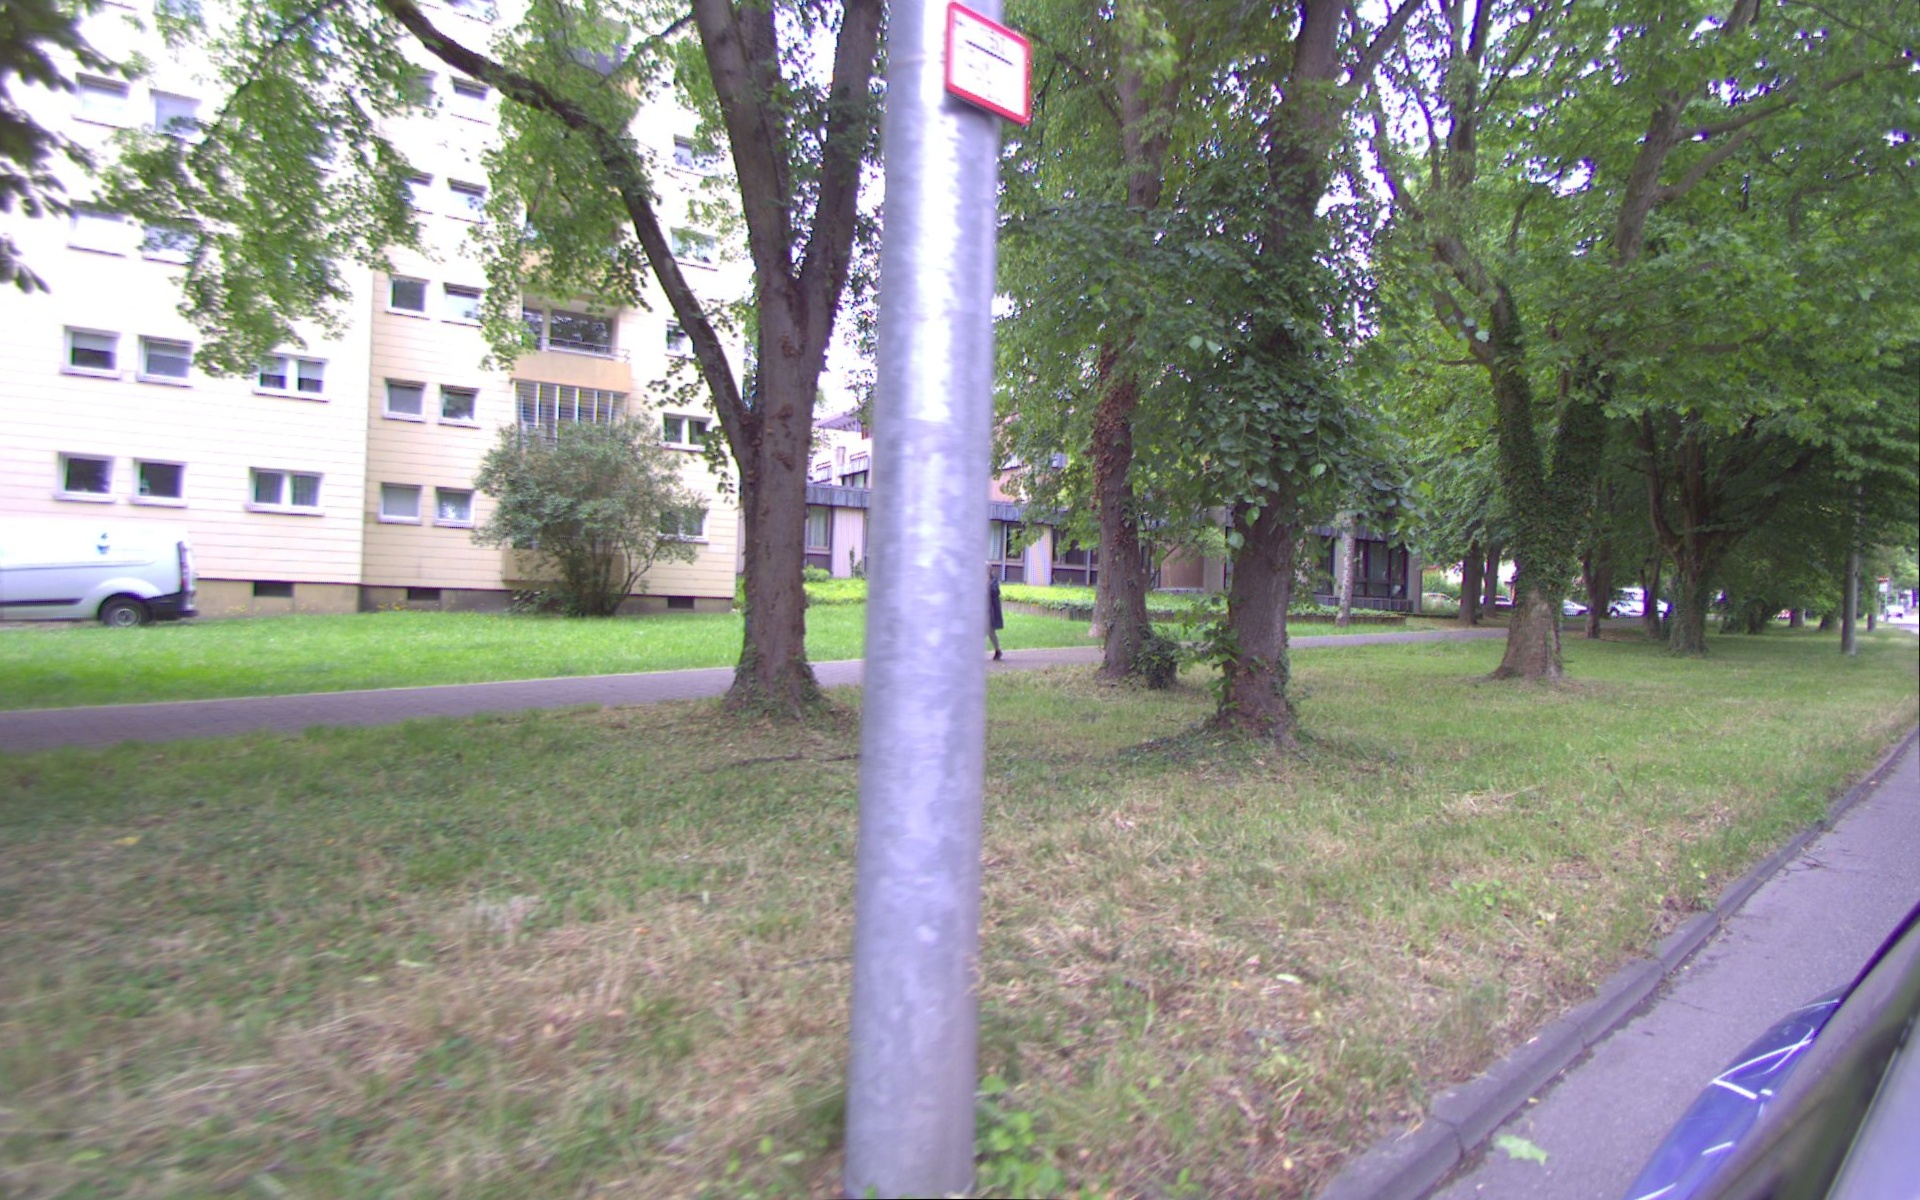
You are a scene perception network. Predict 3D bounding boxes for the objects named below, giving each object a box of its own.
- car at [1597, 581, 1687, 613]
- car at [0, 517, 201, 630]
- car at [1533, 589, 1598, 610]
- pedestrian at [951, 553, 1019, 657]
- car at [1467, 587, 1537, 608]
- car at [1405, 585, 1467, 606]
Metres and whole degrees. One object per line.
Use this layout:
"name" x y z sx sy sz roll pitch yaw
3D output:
"car" 52.781 -0.224 78.415 5.241 2.328 2.285 2 0 11
"car" -16.597 -0.500 17.986 4.873 1.866 2.093 2 1 -36
"car" 47.112 -0.041 78.817 3.928 1.529 1.798 2 0 4
"pedestrian" 0.425 0.071 17.288 0.768 1.707 0.801 3 1 45
"car" 42.250 -0.213 78.943 4.514 1.529 1.801 2 0 -2
"car" 36.976 -0.350 78.629 3.920 1.529 1.802 2 0 -4
